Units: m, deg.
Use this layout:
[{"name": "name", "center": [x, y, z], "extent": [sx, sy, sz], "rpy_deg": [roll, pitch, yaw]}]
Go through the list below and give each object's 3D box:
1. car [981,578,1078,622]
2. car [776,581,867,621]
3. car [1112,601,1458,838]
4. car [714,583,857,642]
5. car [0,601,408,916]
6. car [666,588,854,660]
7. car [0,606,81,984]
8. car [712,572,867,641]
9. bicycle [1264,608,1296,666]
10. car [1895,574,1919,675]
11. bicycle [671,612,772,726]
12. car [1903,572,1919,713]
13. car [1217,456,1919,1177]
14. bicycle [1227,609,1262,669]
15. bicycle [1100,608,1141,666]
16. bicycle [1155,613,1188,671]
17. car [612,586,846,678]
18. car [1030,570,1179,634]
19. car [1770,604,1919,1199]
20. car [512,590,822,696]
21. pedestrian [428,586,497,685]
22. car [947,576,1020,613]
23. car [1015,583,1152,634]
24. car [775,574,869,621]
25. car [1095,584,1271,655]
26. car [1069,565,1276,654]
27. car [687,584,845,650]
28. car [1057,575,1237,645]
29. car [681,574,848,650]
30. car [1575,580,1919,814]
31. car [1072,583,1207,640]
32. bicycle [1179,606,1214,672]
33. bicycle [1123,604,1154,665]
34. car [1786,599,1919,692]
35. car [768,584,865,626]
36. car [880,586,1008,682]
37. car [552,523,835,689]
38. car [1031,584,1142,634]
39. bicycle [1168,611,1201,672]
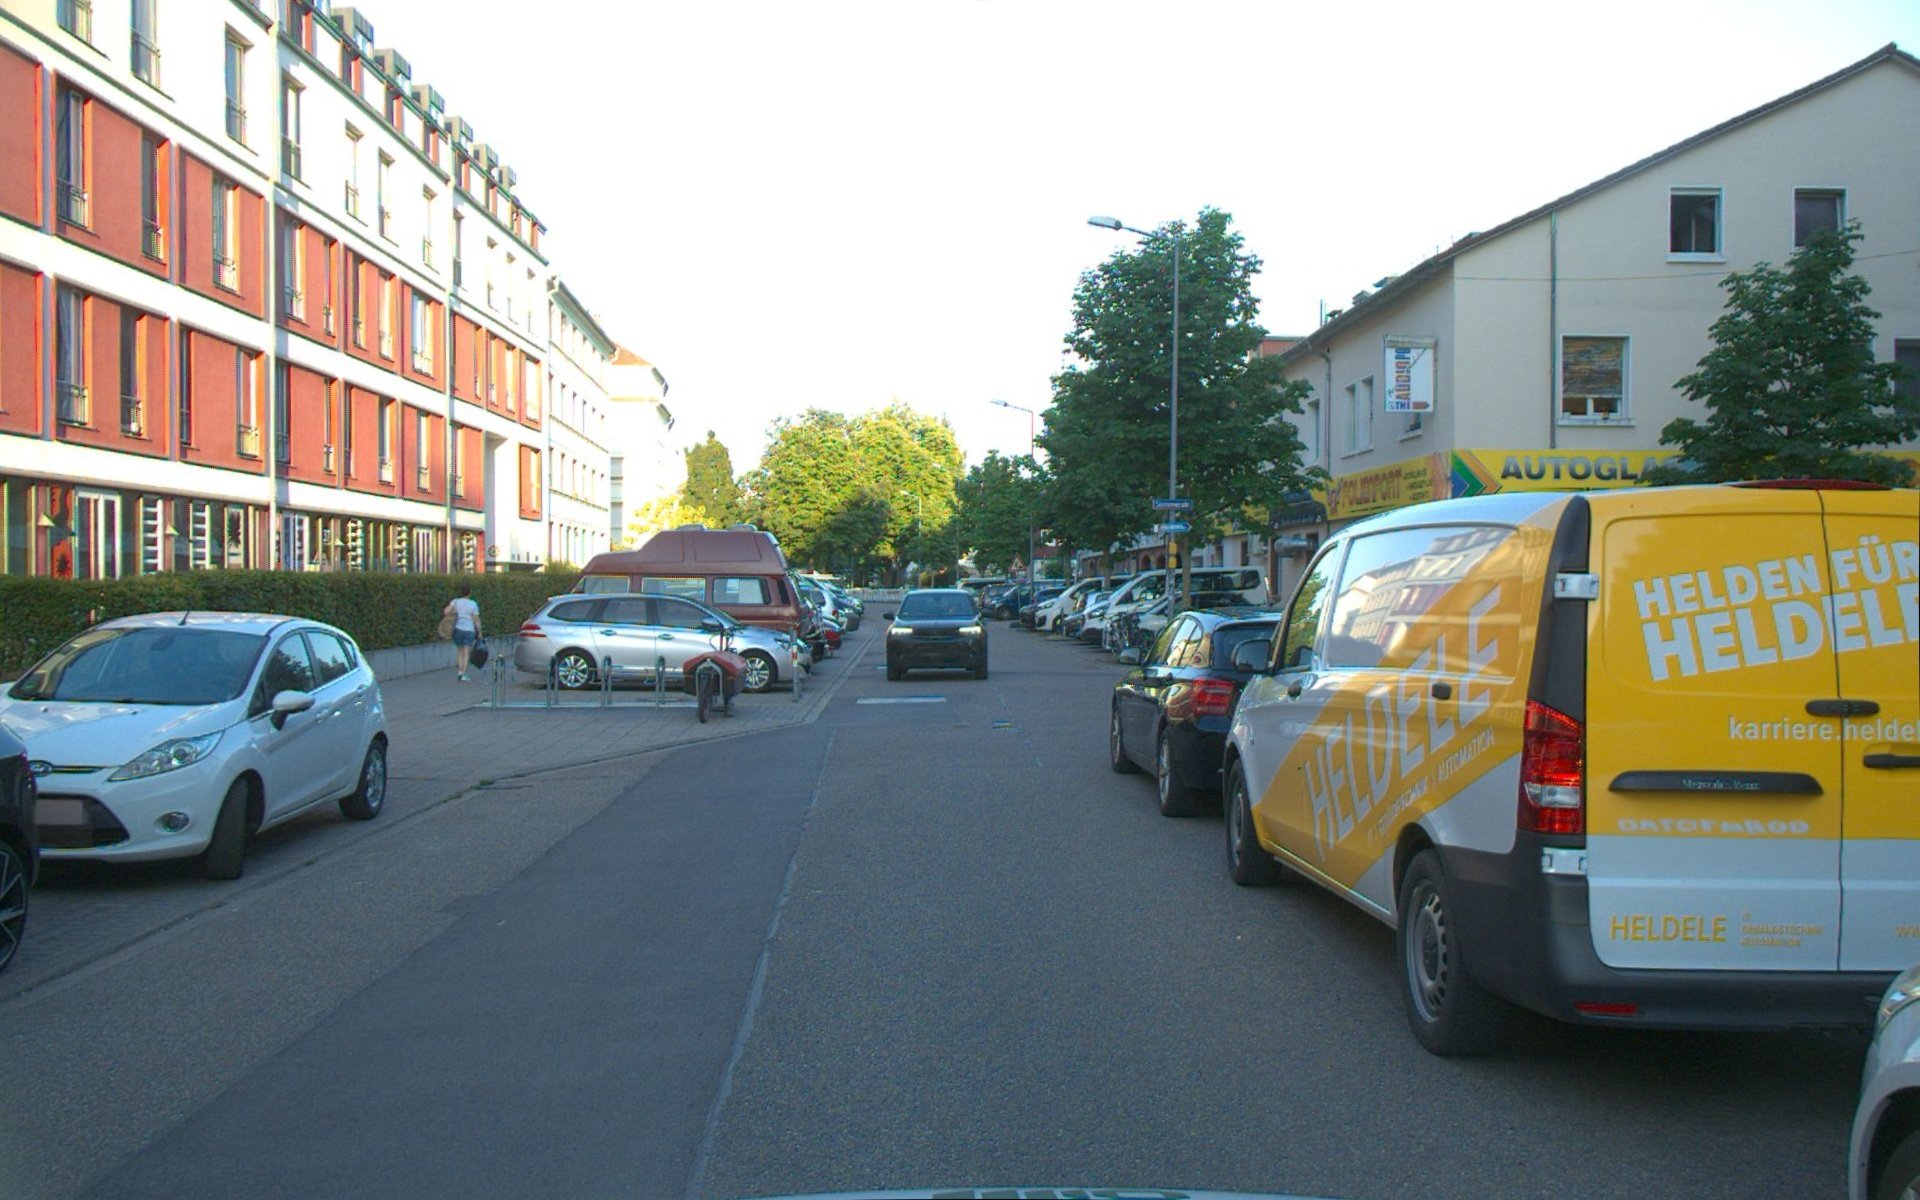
[{"name": "car", "center": [3.329, 0.006, 79.333], "extent": [4.393, 1.945, 1.685], "rpy_deg": [-2, 0, -6]}, {"name": "car", "center": [-6.578, 0.060, 78.944], "extent": [4.170, 1.780, 1.999], "rpy_deg": [1, 0, -2]}, {"name": "car", "center": [2.265, 0.763, 12.652], "extent": [1.686, 1.449, 4.252], "rpy_deg": [1, 0, -2]}, {"name": "car", "center": [-5.289, 0.365, 50.553], "extent": [4.170, 1.681, 1.887], "rpy_deg": [1, 0, -2]}, {"name": "car", "center": [-4.833, 0.811, 10.406], "extent": [1.618, 1.557, 4.014], "rpy_deg": [1, 0, -4]}, {"name": "car", "center": [-4.581, 0.540, 38.321], "extent": [4.123, 1.516, 1.849], "rpy_deg": [1, 0, -1]}, {"name": "car", "center": [-4.796, 0.818, 5.570], "extent": [1.669, 1.561, 3.843], "rpy_deg": [0, 0, -1]}, {"name": "car", "center": [-5.424, 0.195, 53.104], "extent": [4.752, 2.056, 1.906], "rpy_deg": [1, 0, -2]}, {"name": "bicycle", "center": [6.751, 0.773, 34.937], "extent": [0.346, 1.163, 1.481], "rpy_deg": [-1, 0, -1]}, {"name": "car", "center": [18.787, 0.497, 29.180], "extent": [1.835, 1.863, 4.576], "rpy_deg": [0, 1, -3]}, {"name": "bicycle", "center": [-2.878, 0.795, 20.267], "extent": [0.791, 1.243, 2.865], "rpy_deg": [1, 0, 0]}, {"name": "car", "center": [13.656, 0.483, 19.329], "extent": [4.232, 1.702, 1.877], "rpy_deg": [0, -1, -3]}, {"name": "car", "center": [2.487, 0.566, 6.974], "extent": [1.855, 1.917, 5.080], "rpy_deg": [1, 0, -2]}, {"name": "bicycle", "center": [5.979, 0.805, 34.847], "extent": [0.436, 1.221, 1.481], "rpy_deg": [-1, 0, -1]}, {"name": "bicycle", "center": [3.357, 0.766, 34.756], "extent": [0.429, 1.150, 2.014], "rpy_deg": [-1, 0, -7]}, {"name": "bicycle", "center": [4.460, 0.873, 35.003], "extent": [0.378, 1.133, 2.017], "rpy_deg": [-1, 0, -1]}, {"name": "car", "center": [-4.222, 0.579, 30.722], "extent": [4.125, 1.565, 1.790], "rpy_deg": [1, 0, -3]}, {"name": "car", "center": [4.961, 0.071, 57.175], "extent": [4.846, 1.992, 2.048], "rpy_deg": [-2, 0, -3]}, {"name": "car", "center": [2.583, 0.782, 1.725], "extent": [1.640, 1.503, 3.862], "rpy_deg": [1, 0, 1]}, {"name": "car", "center": [-4.425, 0.644, 25.570], "extent": [4.525, 1.486, 1.879], "rpy_deg": [1, 0, -5]}, {"name": "pedestrian", "center": [-7.879, 0.544, 26.220], "extent": [0.815, 1.527, 0.798], "rpy_deg": [1, 0, -1]}, {"name": "car", "center": [1.341, -0.324, 95.021], "extent": [3.892, 1.945, 2.046], "rpy_deg": [-2, 0, -6]}, {"name": "car", "center": [4.589, 0.309, 62.025], "extent": [4.846, 1.718, 2.076], "rpy_deg": [-2, 0, -3]}, {"name": "car", "center": [-6.788, -0.112, 81.576], "extent": [4.442, 2.171, 1.999], "rpy_deg": [1, 0, -2]}, {"name": "car", "center": [5.237, 0.442, 39.146], "extent": [3.841, 1.476, 1.767], "rpy_deg": [-2, 0, -4]}, {"name": "car", "center": [5.321, 0.214, 41.935], "extent": [4.889, 2.018, 2.219], "rpy_deg": [-2, 0, -1]}, {"name": "car", "center": [-5.361, 0.457, 46.195], "extent": [4.170, 1.689, 1.999], "rpy_deg": [1, 0, -2]}, {"name": "car", "center": [5.291, 0.267, 47.279], "extent": [4.843, 1.772, 2.049], "rpy_deg": [-2, 0, -1]}, {"name": "car", "center": [-5.116, 0.294, 43.728], "extent": [4.170, 1.868, 1.999], "rpy_deg": [1, 0, -2]}, {"name": "car", "center": [6.515, 0.597, 12.772], "extent": [1.691, 1.449, 4.421], "rpy_deg": [-2, 0, -3]}, {"name": "car", "center": [5.379, 0.344, 49.914], "extent": [3.832, 1.552, 1.939], "rpy_deg": [-2, 0, -1]}, {"name": "bicycle", "center": [4.996, 0.800, 35.011], "extent": [0.378, 1.327, 2.017], "rpy_deg": [-1, 0, -1]}, {"name": "bicycle", "center": [3.762, 0.716, 34.953], "extent": [0.378, 1.221, 2.017], "rpy_deg": [-1, 0, -1]}, {"name": "car", "center": [16.600, 0.750, 29.030], "extent": [1.706, 1.536, 4.569], "rpy_deg": [0, 0, -4]}, {"name": "car", "center": [-6.408, 0.226, 74.177], "extent": [4.170, 1.744, 1.999], "rpy_deg": [1, 0, -2]}, {"name": "car", "center": [-0.212, 0.550, 29.411], "extent": [1.741, 1.544, 4.003], "rpy_deg": [-1, 0, 7]}, {"name": "car", "center": [-4.453, 0.092, 28.146], "extent": [4.419, 2.629, 2.000], "rpy_deg": [1, 0, 0]}, {"name": "car", "center": [5.081, 0.356, 66.944], "extent": [4.231, 1.835, 1.810], "rpy_deg": [-2, 0, -3]}, {"name": "bicycle", "center": [4.740, 0.858, 34.996], "extent": [0.378, 1.221, 2.017], "rpy_deg": [-1, 0, -1]}]
